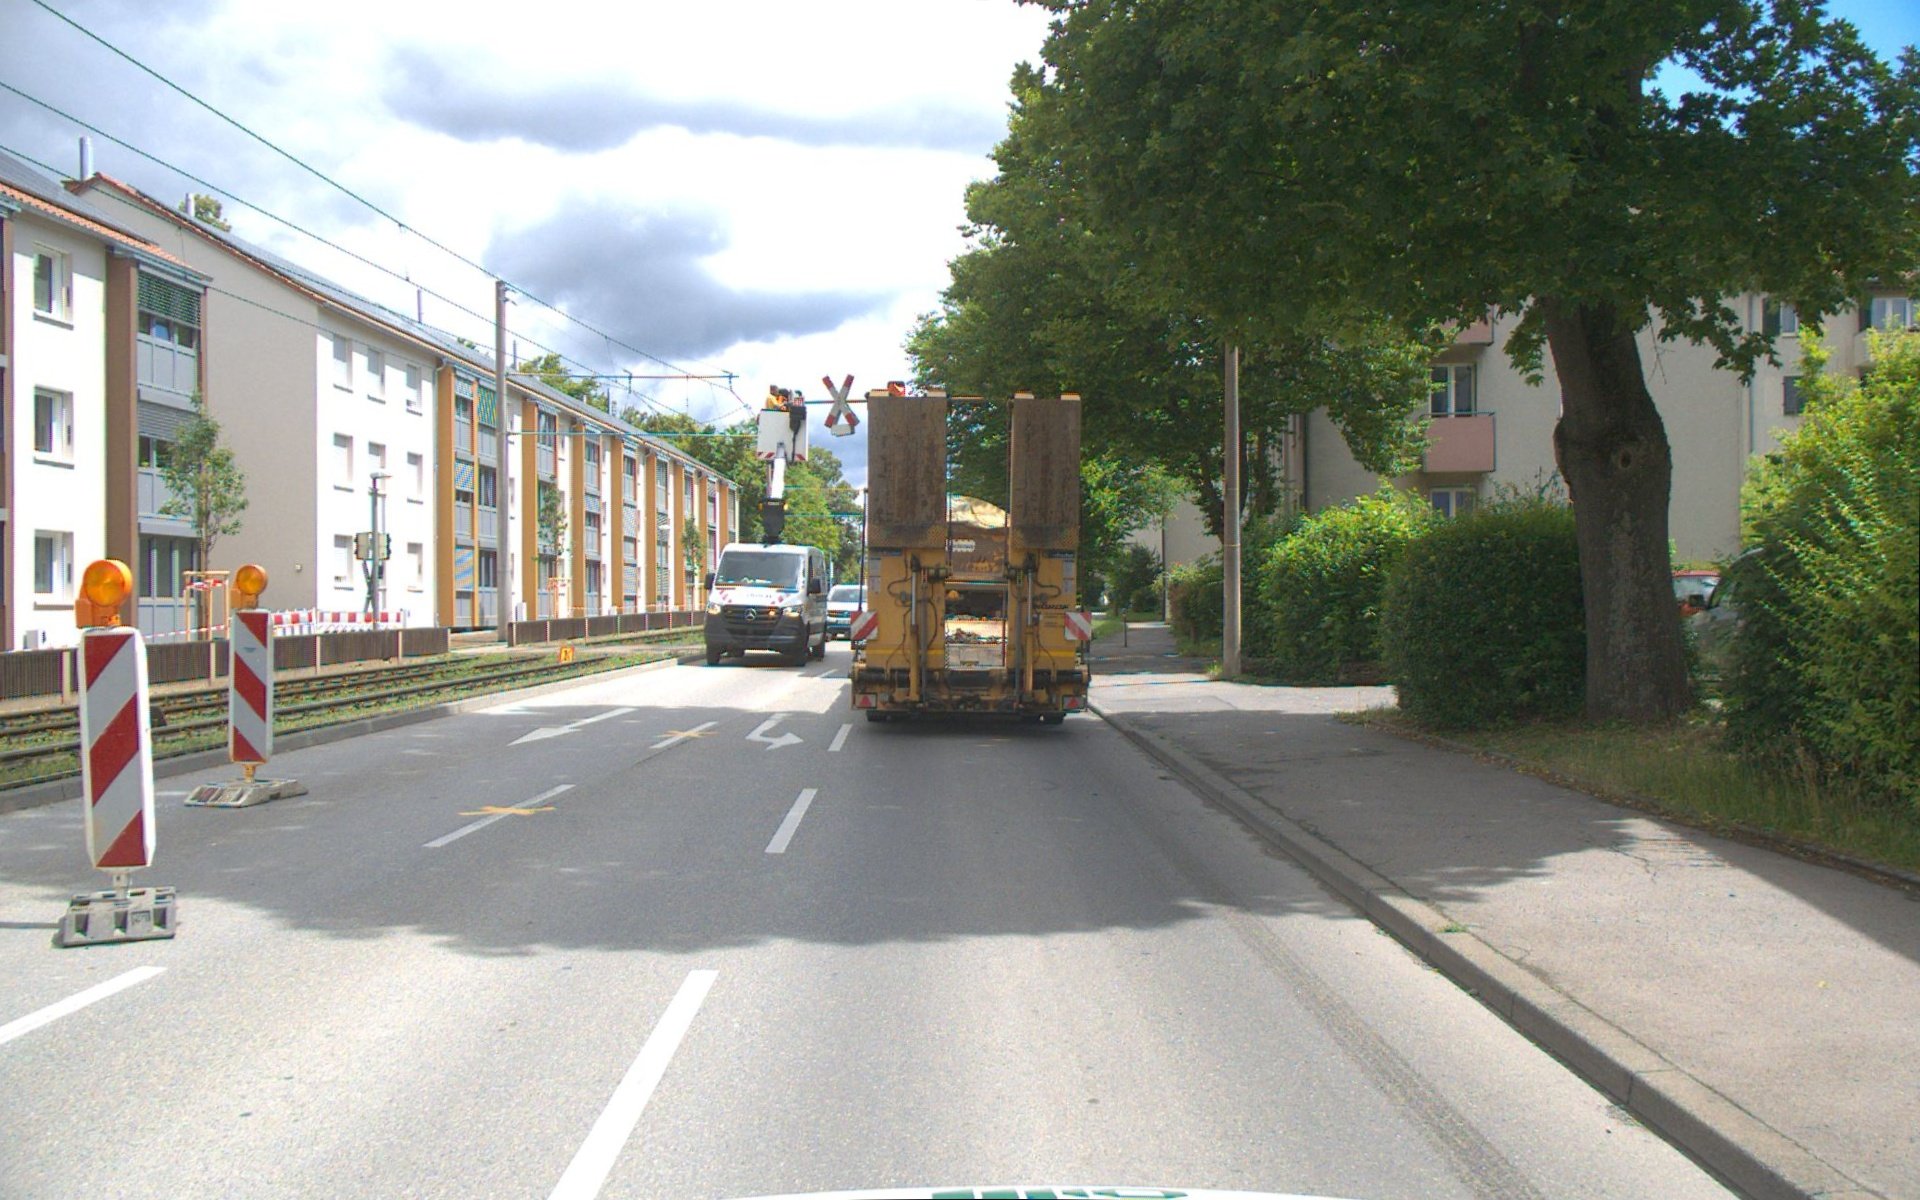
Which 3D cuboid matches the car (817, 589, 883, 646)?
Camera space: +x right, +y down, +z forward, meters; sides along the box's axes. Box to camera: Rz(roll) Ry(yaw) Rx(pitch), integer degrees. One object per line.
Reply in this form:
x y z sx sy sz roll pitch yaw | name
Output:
-3.217 0.491 48.855 1.683 1.579 3.917 1 0 -1 | car

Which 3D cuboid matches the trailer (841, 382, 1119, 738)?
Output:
0.212 -0.438 22.487 2.765 3.585 11.051 1 0 0 | trailer

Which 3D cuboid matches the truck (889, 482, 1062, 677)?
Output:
0.276 -0.381 31.812 2.857 3.222 7.680 1 0 0 | truck

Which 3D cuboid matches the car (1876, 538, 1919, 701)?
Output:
10.322 0.175 15.156 1.774 1.611 4.002 -1 0 3 | car

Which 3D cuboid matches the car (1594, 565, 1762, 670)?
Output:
11.178 0.243 25.982 1.627 1.506 3.696 -1 0 11 | car

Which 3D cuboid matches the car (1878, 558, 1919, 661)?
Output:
16.034 0.139 25.681 1.759 1.635 4.110 -1 0 8 | car

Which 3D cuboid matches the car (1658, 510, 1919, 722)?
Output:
7.905 0.120 15.135 1.773 1.678 4.003 -1 0 8 | car

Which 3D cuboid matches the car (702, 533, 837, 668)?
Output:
-3.771 -0.012 33.845 1.952 2.473 6.322 1 0 0 | car
